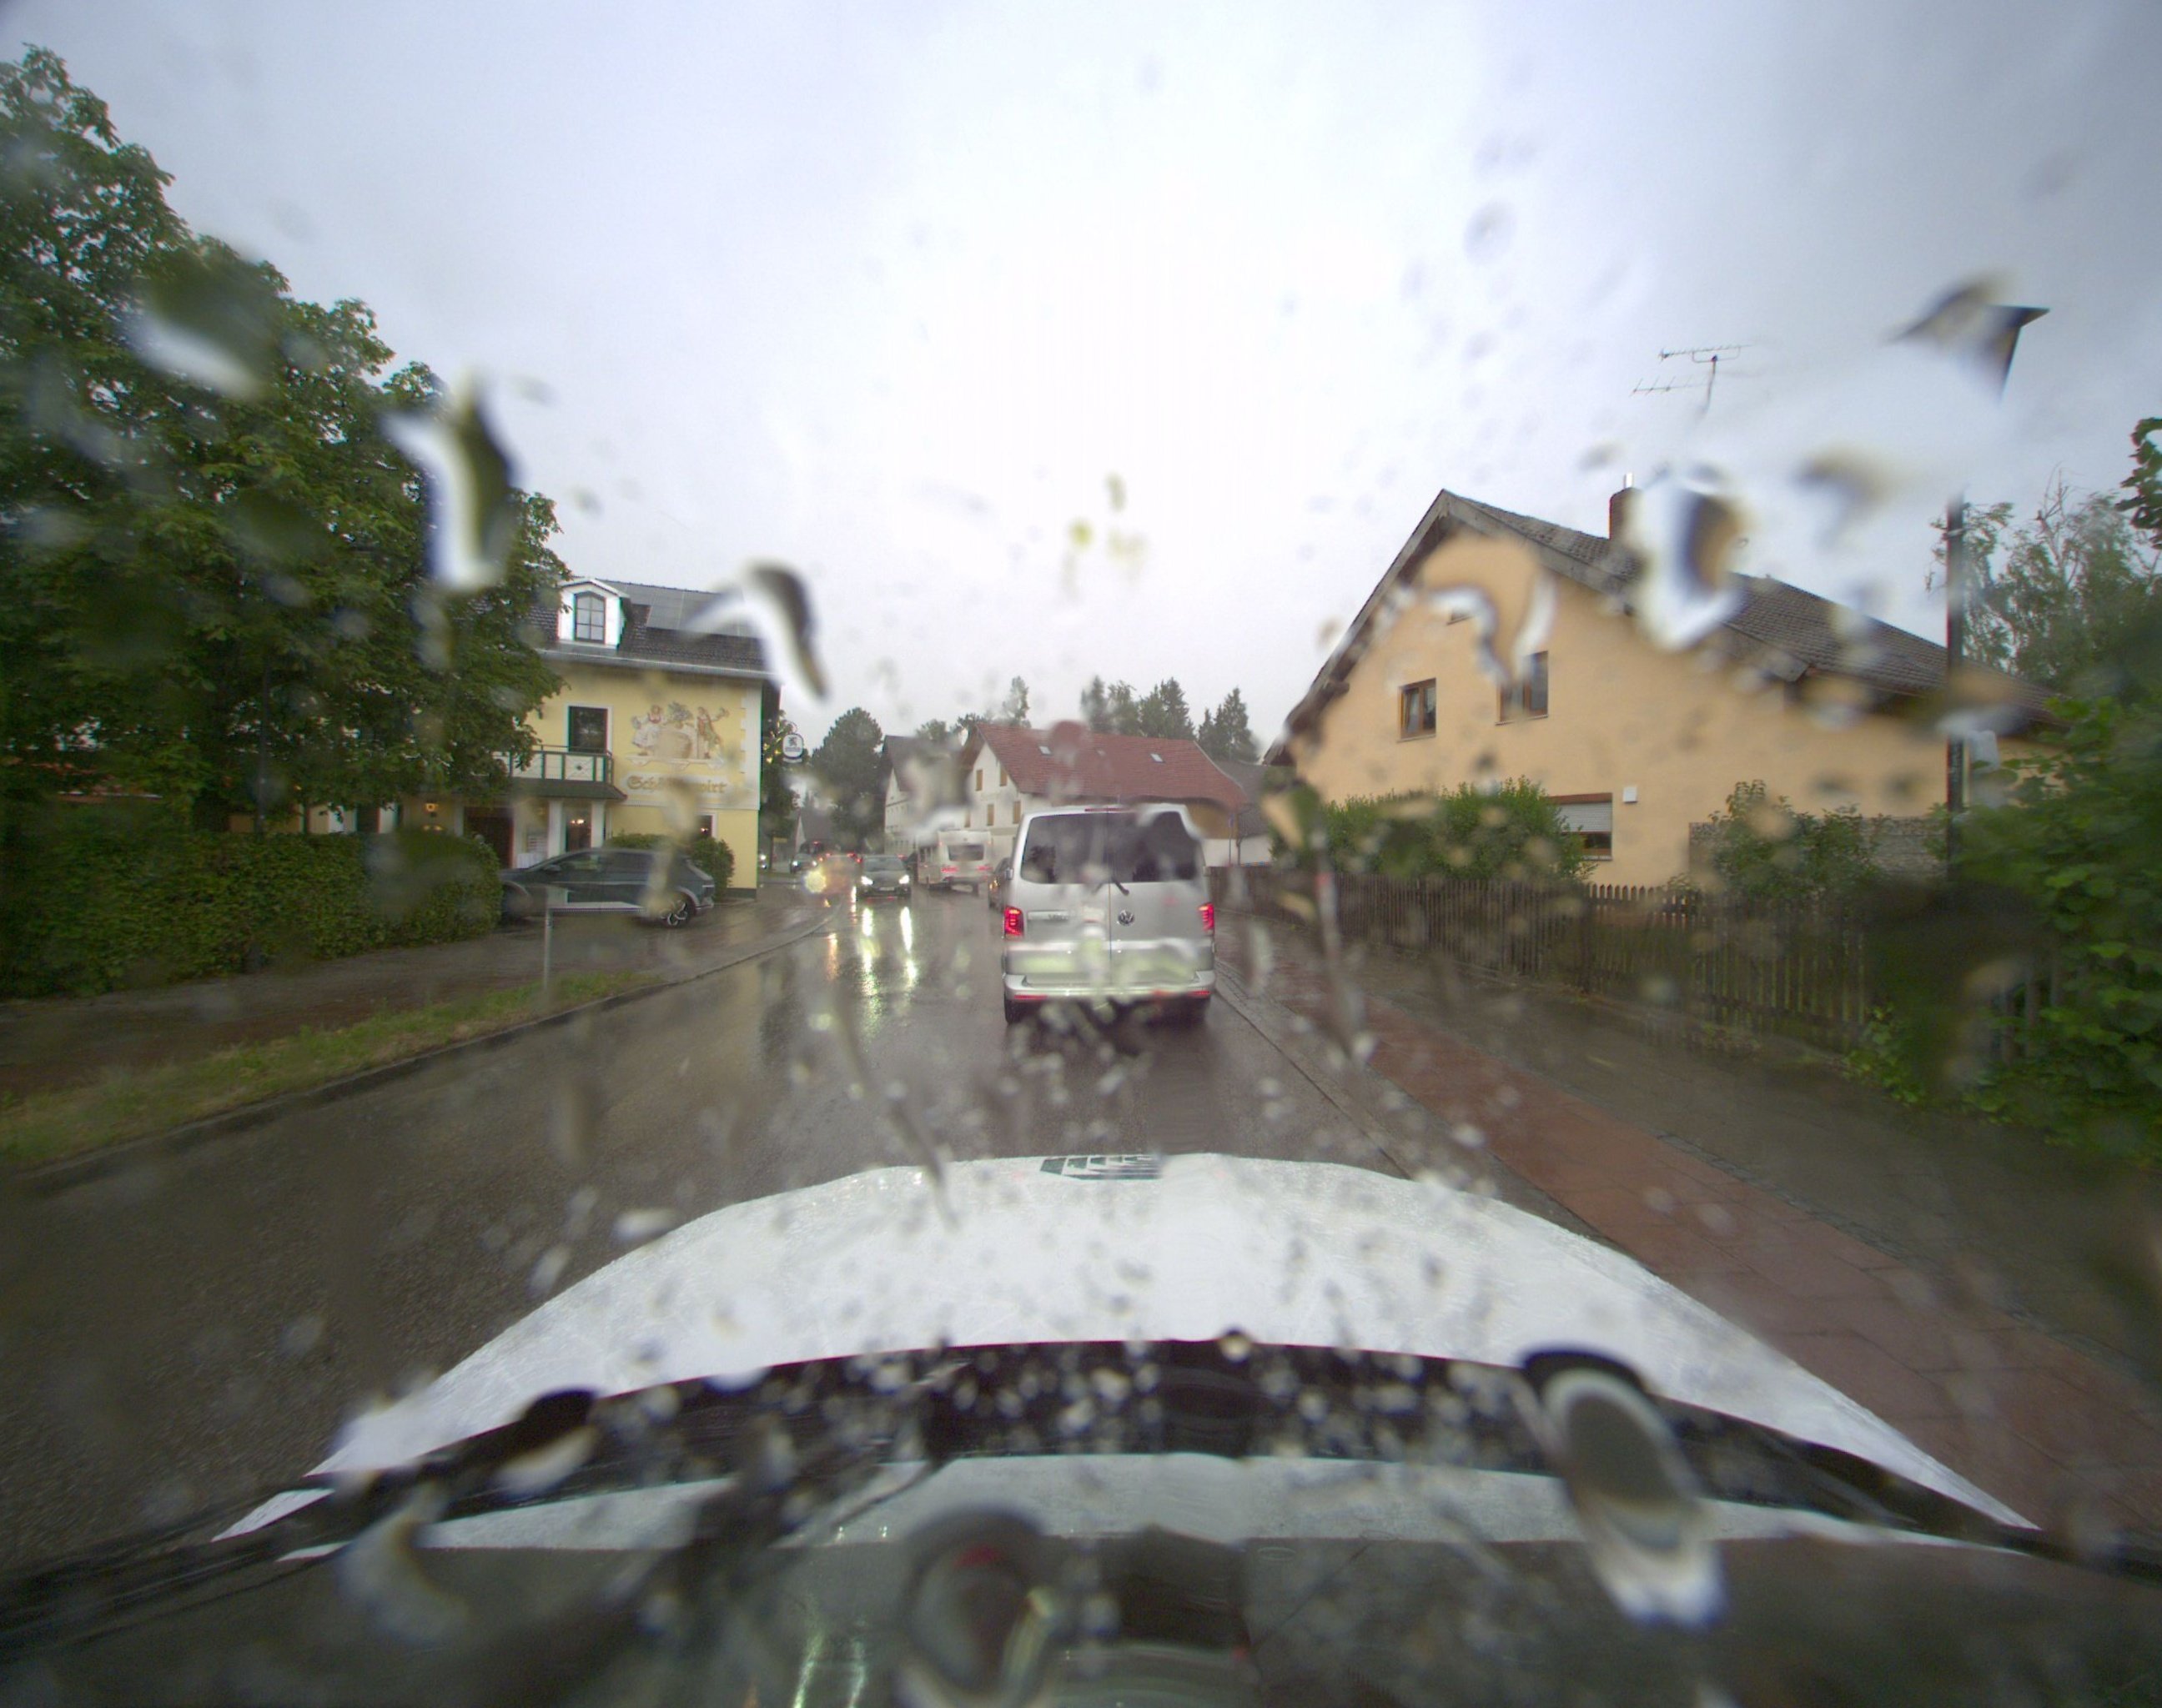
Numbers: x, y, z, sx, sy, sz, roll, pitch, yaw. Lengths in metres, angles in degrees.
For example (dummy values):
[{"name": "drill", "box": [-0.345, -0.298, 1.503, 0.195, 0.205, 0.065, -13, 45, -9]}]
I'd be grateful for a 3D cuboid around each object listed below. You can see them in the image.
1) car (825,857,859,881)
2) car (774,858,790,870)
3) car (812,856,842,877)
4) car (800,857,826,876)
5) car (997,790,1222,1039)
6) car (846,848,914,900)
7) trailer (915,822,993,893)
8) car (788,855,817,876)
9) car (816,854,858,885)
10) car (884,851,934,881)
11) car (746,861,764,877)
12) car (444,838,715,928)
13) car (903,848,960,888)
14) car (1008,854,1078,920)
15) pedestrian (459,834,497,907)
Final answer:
[{"name": "car", "box": [-20.591, 1.244, 70.054, 2.179, 1.899, 4.974, 1, 0, -24]}, {"name": "car", "box": [-50.069, 1.675, 136.200, 2.179, 1.899, 4.974, 1, 0, -24]}, {"name": "car", "box": [-24.385, 1.199, 78.011, 2.179, 1.899, 4.974, 1, 0, -24]}, {"name": "car", "box": [-29.174, 1.373, 88.523, 2.179, 1.899, 4.974, 1, 0, -24]}, {"name": "car", "box": [0.334, 0.495, 9.057, 1.769, 1.963, 5.077, -1, 0, 2]}, {"name": "car", "box": [-7.560, 0.689, 30.339, 1.930, 1.744, 4.162, -1, 0, -21]}, {"name": "trailer", "box": [-5.793, 0.165, 36.407, 2.278, 2.904, 6.090, 0, 0, -20]}, {"name": "car", "box": [-22.279, 0.927, 65.070, 1.597, 1.610, 3.504, -1, -1, -30]}, {"name": "car", "box": [-14.327, 0.909, 47.690, 1.762, 1.677, 3.966, -1, -1, -25]}, {"name": "car", "box": [-11.404, 0.801, 53.745, 2.179, 1.899, 4.973, 1, -1, -24]}, {"name": "car", "box": [-42.318, 1.943, 105.733, 1.860, 1.971, 4.662, -1, -1, -25]}, {"name": "car", "box": [-10.143, 0.618, 16.929, 4.499, 1.567, 1.824, 4, 0, -27]}, {"name": "car", "box": [-7.714, 0.698, 41.687, 2.060, 1.899, 5.141, 0, 0, -20]}, {"name": "car", "box": [-1.195, 0.856, 23.564, 1.706, 1.584, 4.676, -2, 1, -6]}, {"name": "pedestrian", "box": [-14.155, 0.383, 19.124, 0.492, 1.690, 0.550, 4, -1, -21]}]
